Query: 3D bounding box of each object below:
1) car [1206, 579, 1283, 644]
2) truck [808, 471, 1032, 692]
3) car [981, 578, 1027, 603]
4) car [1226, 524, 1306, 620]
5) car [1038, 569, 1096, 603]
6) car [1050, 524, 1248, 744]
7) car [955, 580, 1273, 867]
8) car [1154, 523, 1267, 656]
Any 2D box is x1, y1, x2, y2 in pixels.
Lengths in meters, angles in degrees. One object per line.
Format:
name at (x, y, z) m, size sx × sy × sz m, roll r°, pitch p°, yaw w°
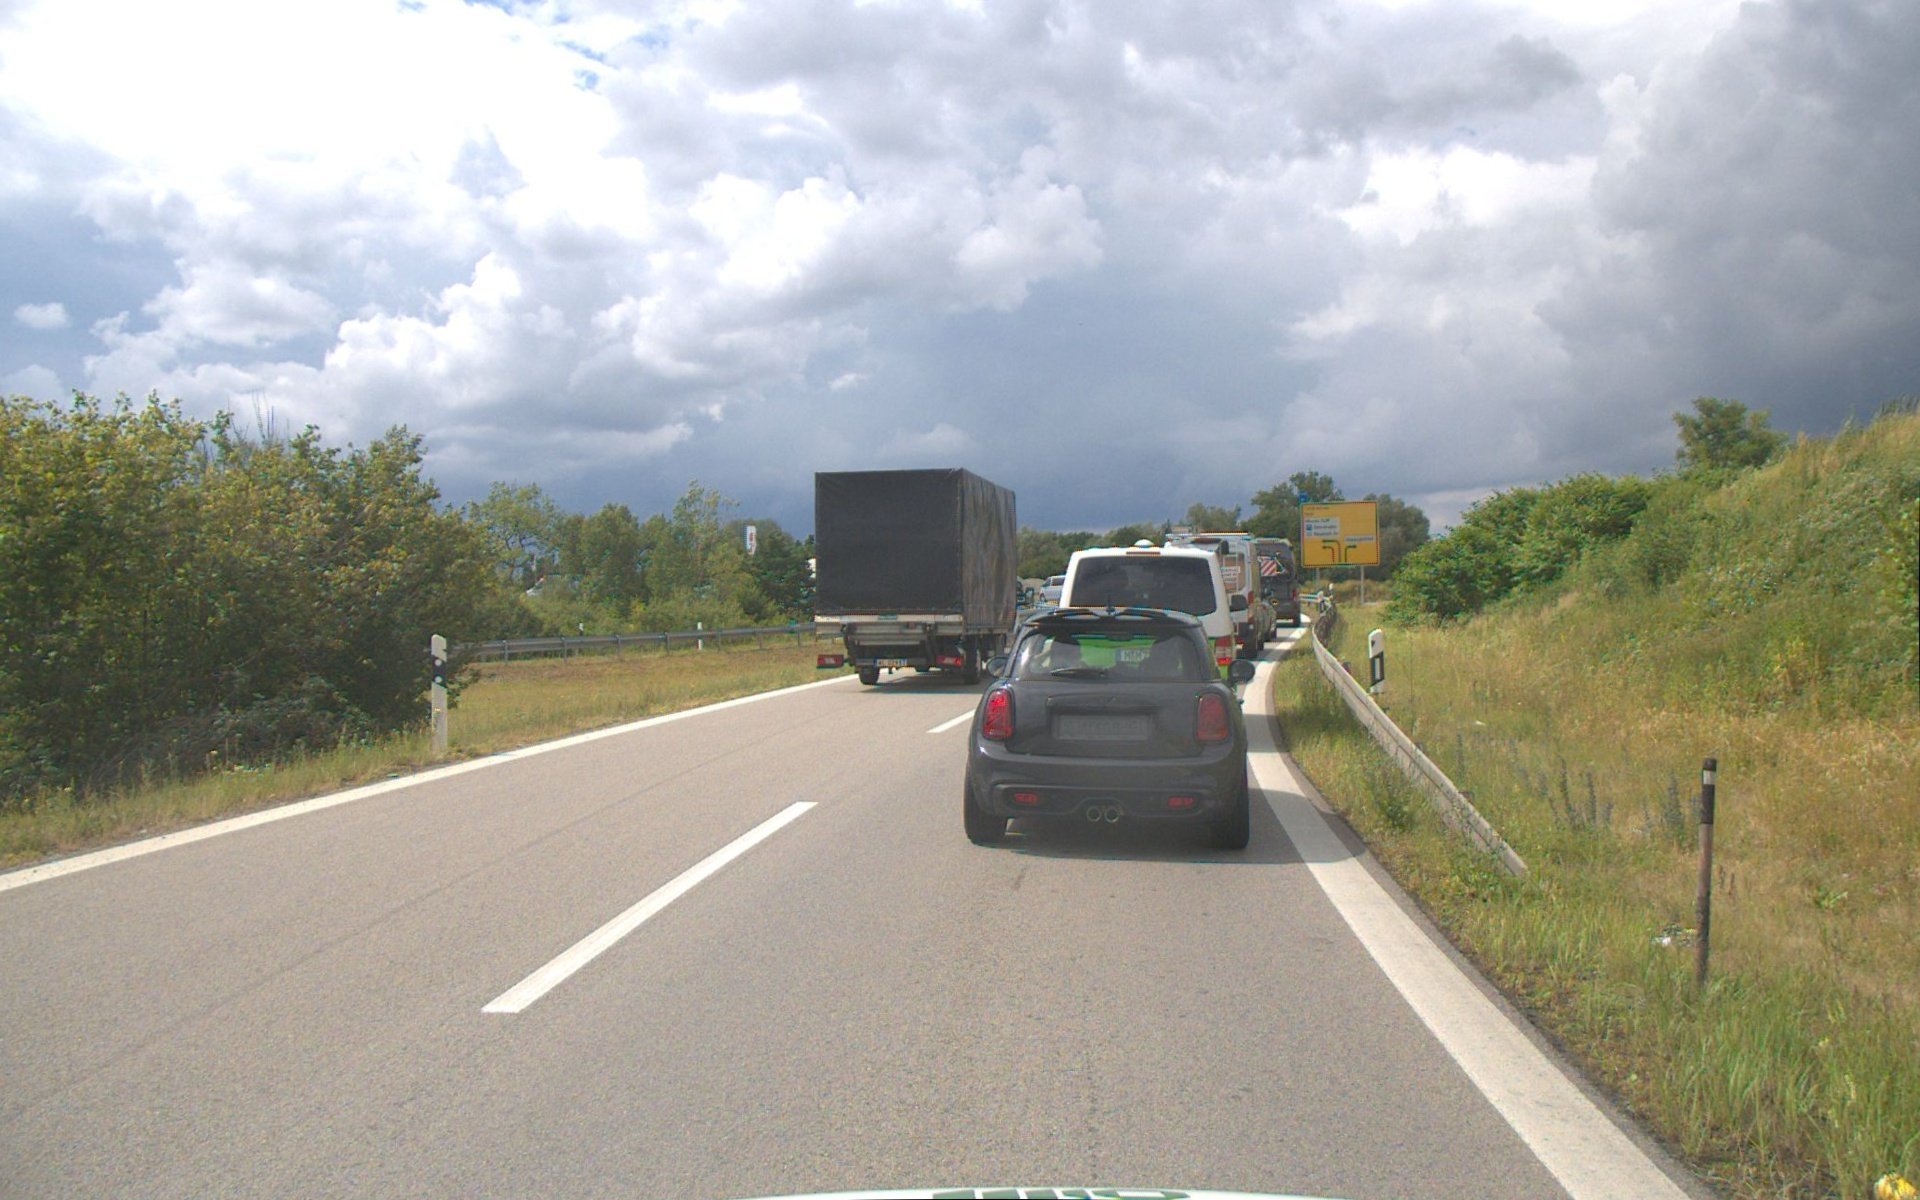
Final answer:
car at (7.789, 0.311, 45.042) m, size 1.951 × 1.671 × 3.932 m, roll 1°, pitch -1°, yaw 11°
truck at (-0.442, -0.249, 28.123) m, size 2.505 × 3.223 × 7.474 m, roll 1°, pitch -1°, yaw 9°
car at (3.384, -0.705, 127.135) m, size 1.896 × 1.870 × 4.285 m, roll 1°, pitch -1°, yaw -24°
car at (10.612, -0.881, 57.028) m, size 2.262 × 3.122 × 6.667 m, roll 1°, pitch -1°, yaw 14°
car at (7.701, -0.978, 119.385) m, size 2.257 × 2.300 × 5.073 m, roll 1°, pitch -1°, yaw -22°
car at (2.139, 0.320, 17.870) m, size 1.870 × 2.081 × 4.184 m, roll 0°, pitch 0°, yaw 9°
car at (1.089, 0.677, 11.104) m, size 1.761 × 1.573 × 3.741 m, roll 0°, pitch 0°, yaw 7°
car at (5.550, -0.191, 36.097) m, size 2.164 × 2.668 × 5.539 m, roll 1°, pitch -1°, yaw 11°
